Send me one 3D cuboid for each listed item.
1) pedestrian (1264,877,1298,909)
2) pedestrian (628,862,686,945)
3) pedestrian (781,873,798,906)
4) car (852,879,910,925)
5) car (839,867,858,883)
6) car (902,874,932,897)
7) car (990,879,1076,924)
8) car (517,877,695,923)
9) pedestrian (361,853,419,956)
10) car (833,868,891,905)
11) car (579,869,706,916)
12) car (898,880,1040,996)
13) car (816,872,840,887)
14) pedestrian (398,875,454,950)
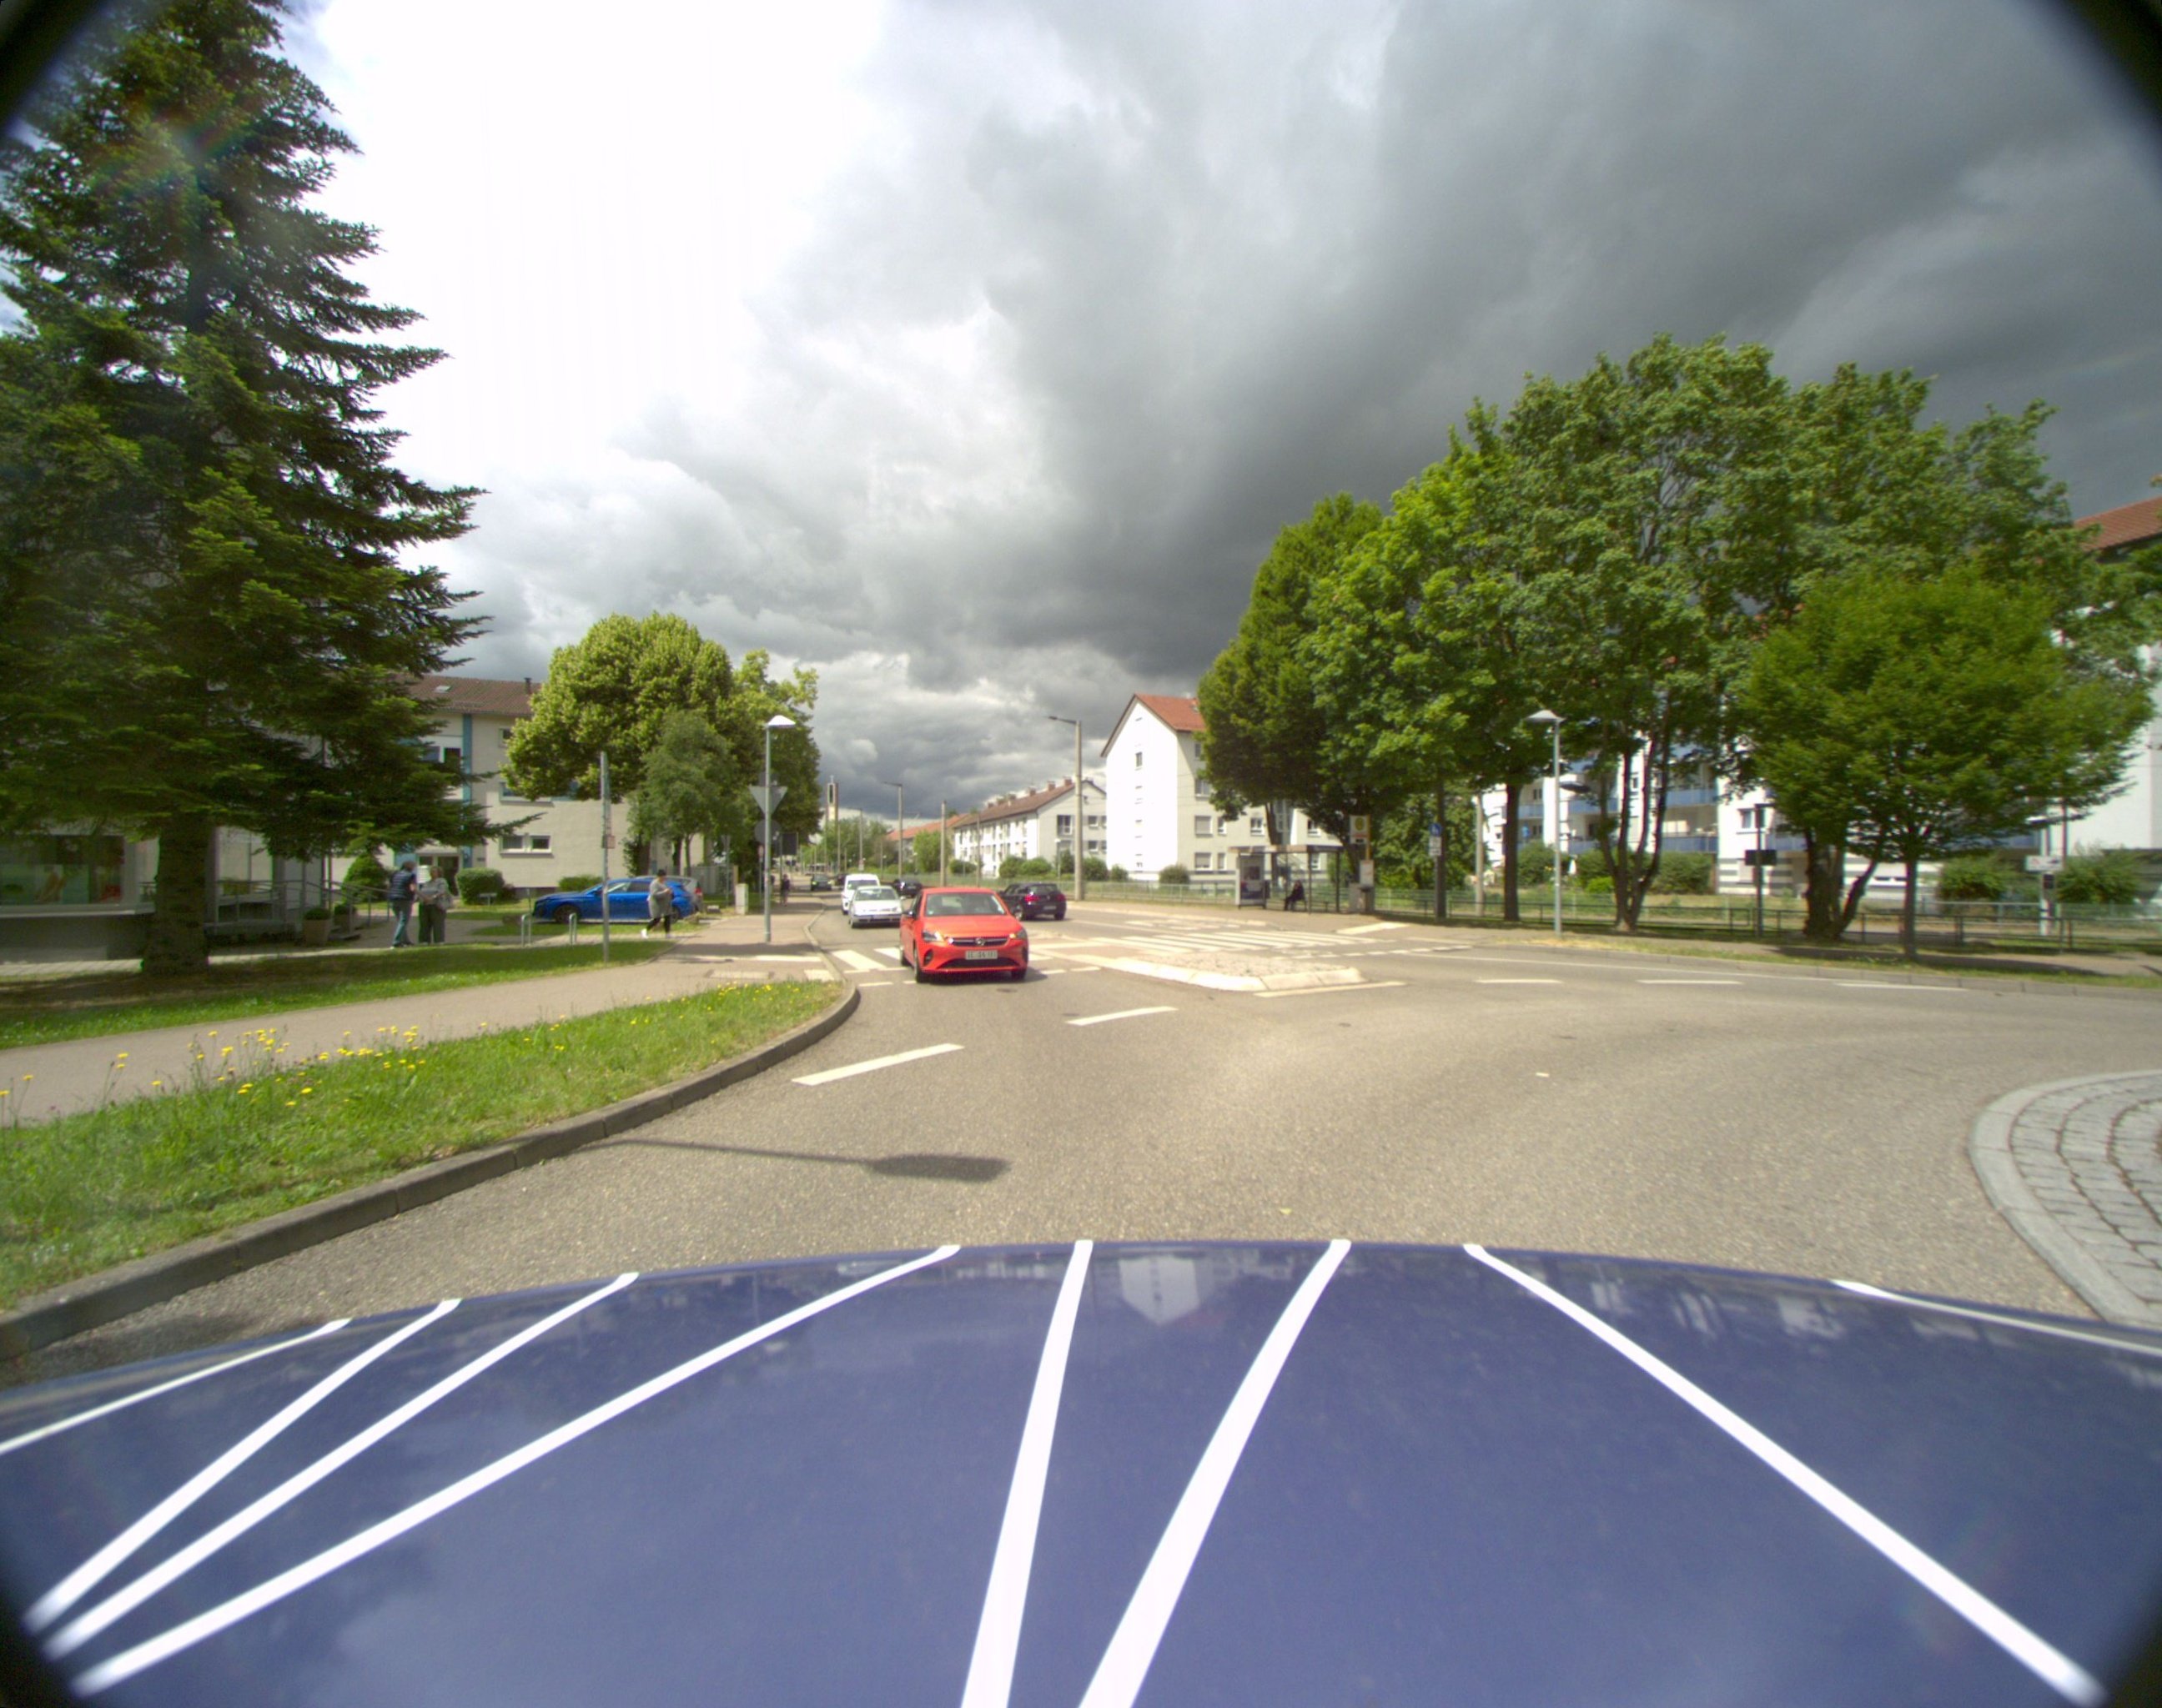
[{"bbox_3d":[7.490,1.460,28.444,0.802,1.128,0.909,-1,0,-26],"label":"pedestrian"},{"bbox_3d":[-10.362,1.182,18.579,0.840,1.944,0.944,0,-1,38],"label":"pedestrian"},{"bbox_3d":[-15.187,1.846,39.587,0.685,1.650,0.829,1,0,-28],"label":"pedestrian"},{"bbox_3d":[-6.951,1.605,26.238,1.766,1.389,3.994,1,-1,-16],"label":"car"},{"bbox_3d":[-27.658,2.466,90.209,2.002,1.517,4.514,2,3,-19],"label":"car"},{"bbox_3d":[-11.105,2.103,51.600,1.824,1.375,4.614,1,-1,-11],"label":"car"},{"bbox_3d":[-1.923,1.761,29.186,1.861,1.446,4.379,-1,0,-24],"label":"car"},{"bbox_3d":[-14.756,1.456,23.846,4.506,1.236,1.995,4,-3,-32],"label":"car"},{"bbox_3d":[-13.875,0.983,15.283,0.657,2.001,1.044,1,-1,-31],"label":"pedestrian"},{"bbox_3d":[-10.273,1.454,35.428,2.003,1.598,3.992,1,-1,-25],"label":"car"},{"bbox_3d":[-15.577,1.375,27.123,3.748,1.547,2.027,3,-2,-30],"label":"car"},{"bbox_3d":[-2.051,1.260,12.868,1.768,1.548,3.994,1,-1,-17],"label":"car"},{"bbox_3d":[-24.239,2.446,72.918,1.921,1.309,3.995,1,-1,-15],"label":"car"},{"bbox_3d":[-13.790,1.209,16.010,0.745,1.520,0.689,1,-1,-29],"label":"pedestrian"}]
